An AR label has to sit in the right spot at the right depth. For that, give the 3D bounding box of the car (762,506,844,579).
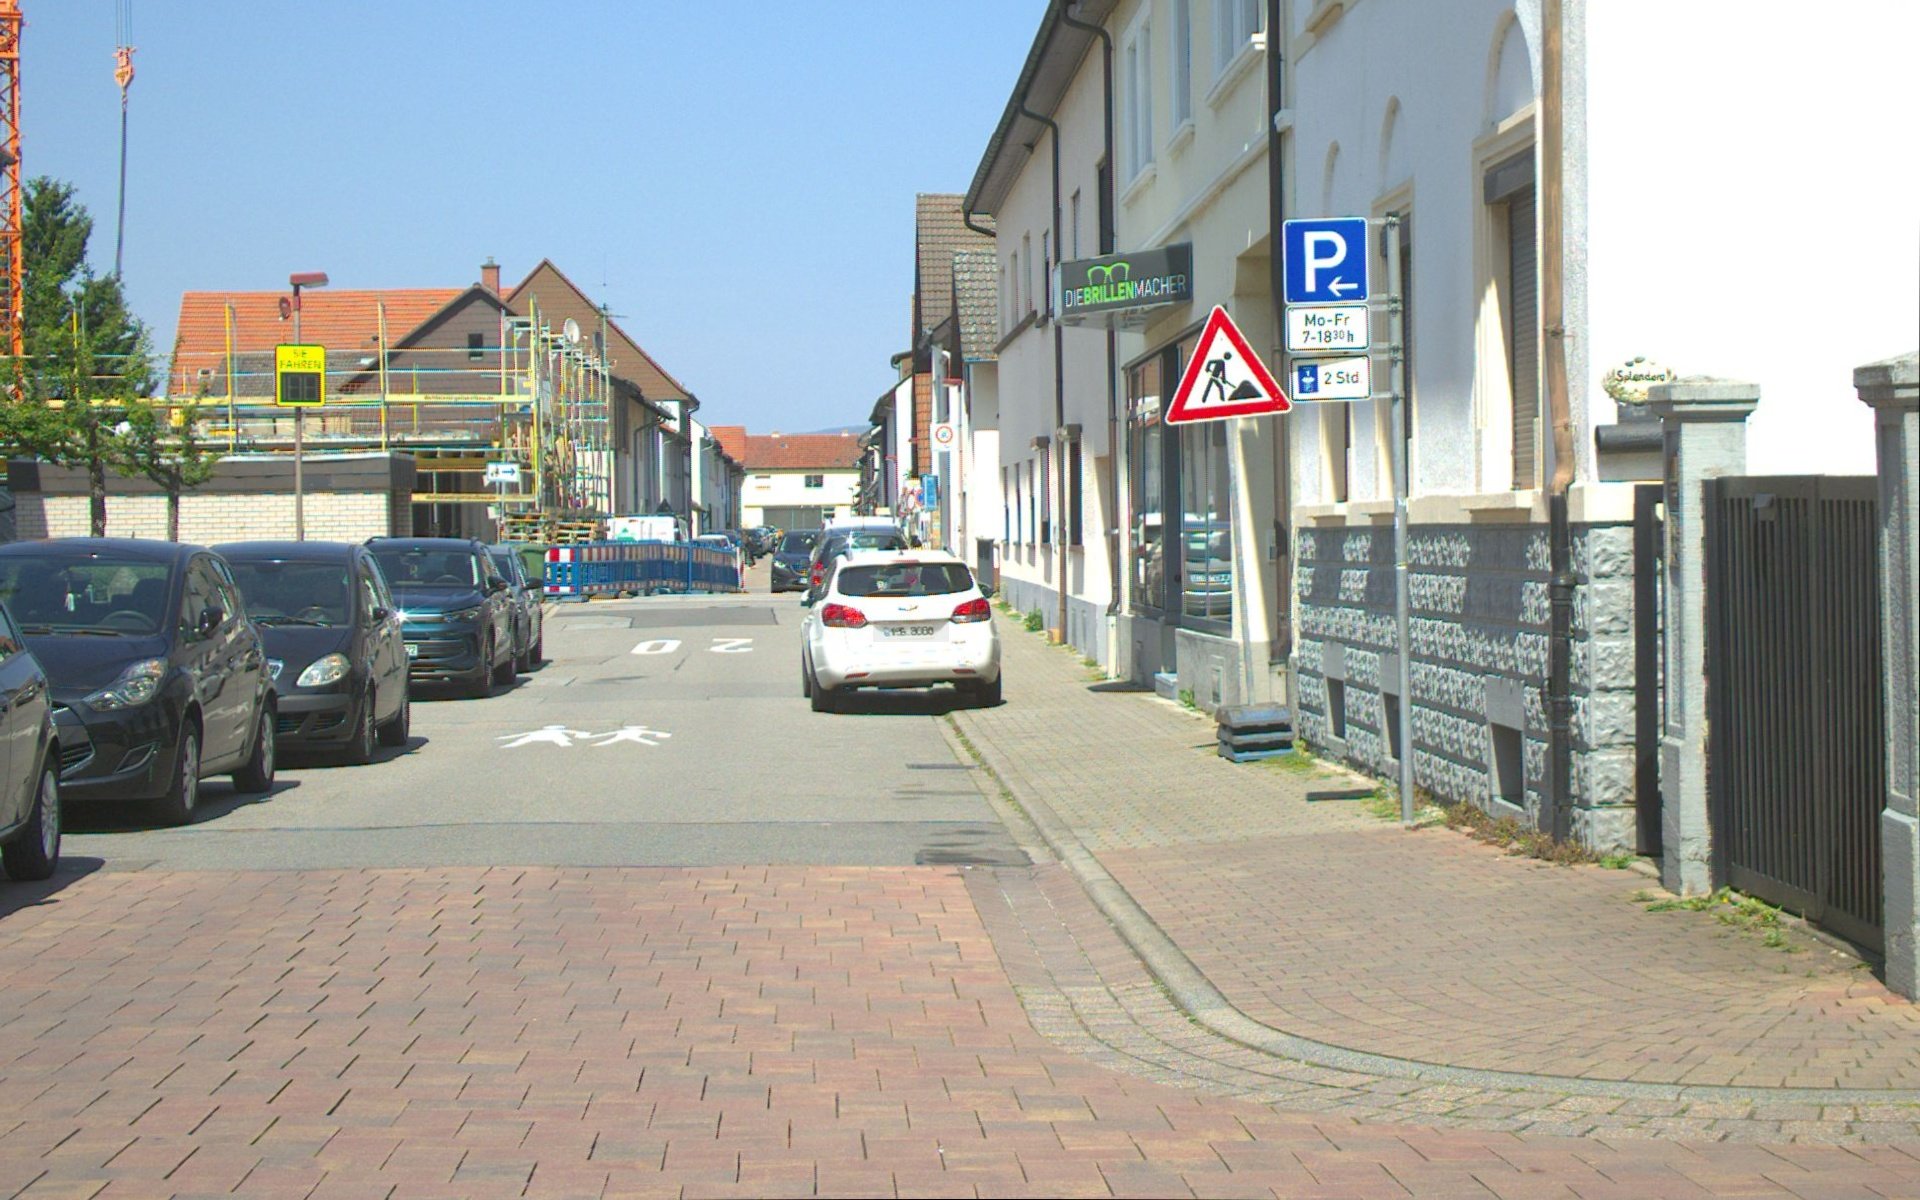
[{"bbox_3d":[-3.750,-1.378,81.532,1.881,1.662,4.154,0,1,-3],"label":"car"}]

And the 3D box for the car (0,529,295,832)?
[{"bbox_3d":[-5.213,0.395,20.350,1.815,1.599,4.025,-1,1,-1],"label":"car"}]

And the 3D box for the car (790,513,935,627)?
[{"bbox_3d":[-1.535,-0.492,52.905,1.884,1.550,3.895,-4,2,-5],"label":"car"}]

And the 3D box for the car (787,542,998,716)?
[{"bbox_3d":[-0.602,0.225,33.212,1.886,1.536,4.243,-1,1,0],"label":"car"}]

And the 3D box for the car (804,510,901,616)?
[{"bbox_3d":[-1.848,-0.658,58.267,1.564,1.607,3.543,-1,3,-3],"label":"car"}]

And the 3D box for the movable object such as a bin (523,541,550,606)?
[{"bbox_3d":[-7.622,-0.477,61.905,0.431,1.151,0.364,-1,1,-12],"label":"movable object such as a bin"}]

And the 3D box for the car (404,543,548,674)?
[{"bbox_3d":[-5.905,0.071,42.227,1.436,1.469,3.787,-1,2,-4],"label":"car"}]

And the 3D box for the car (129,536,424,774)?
[{"bbox_3d":[-5.093,0.348,26.031,1.637,1.623,3.769,-1,1,-3],"label":"car"}]

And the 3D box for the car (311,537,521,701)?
[{"bbox_3d":[-5.758,0.150,36.797,1.826,1.625,4.218,-1,1,-4],"label":"car"}]

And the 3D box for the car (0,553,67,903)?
[{"bbox_3d":[-4.959,0.571,14.496,1.702,1.491,3.858,-1,1,-5],"label":"car"}]
